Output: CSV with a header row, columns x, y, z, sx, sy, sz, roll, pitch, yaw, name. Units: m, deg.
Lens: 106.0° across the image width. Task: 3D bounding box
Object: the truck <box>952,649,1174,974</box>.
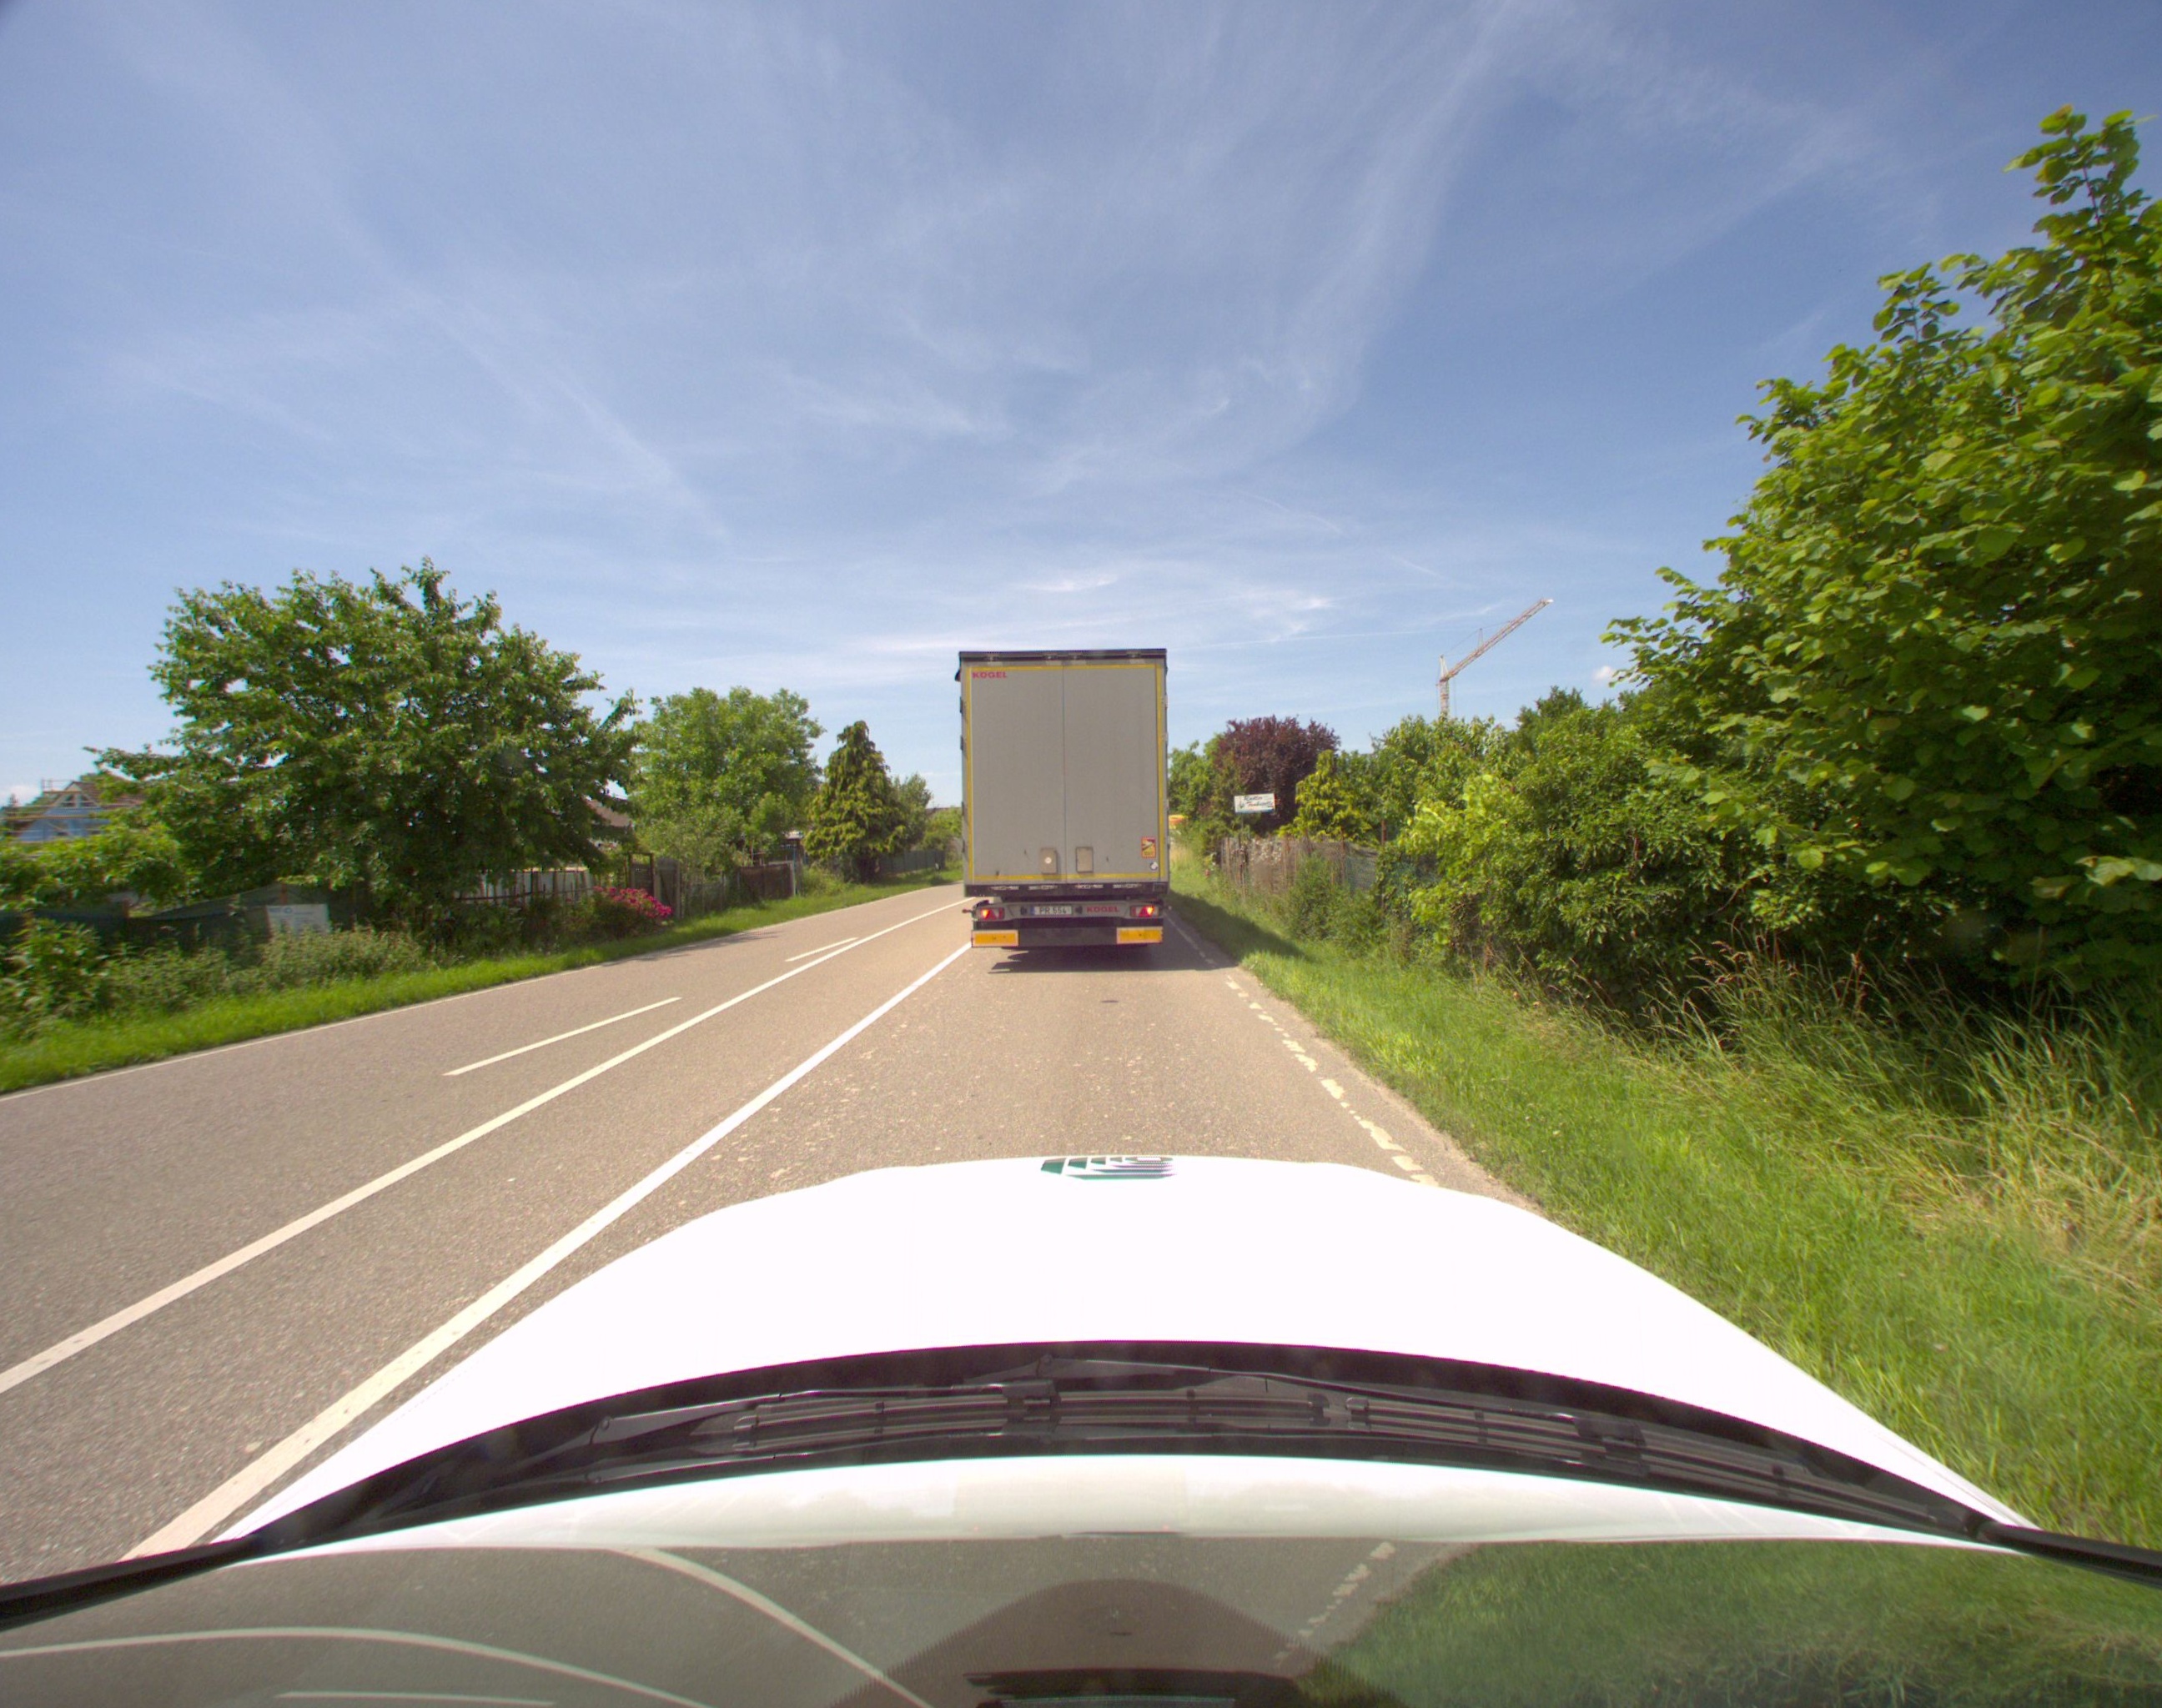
x,y,z,sx,sy,sz,roll,pitch,yaw,name
-0.231,-0.553,14.332,2.639,3.917,8.823,-1,0,0,truck
